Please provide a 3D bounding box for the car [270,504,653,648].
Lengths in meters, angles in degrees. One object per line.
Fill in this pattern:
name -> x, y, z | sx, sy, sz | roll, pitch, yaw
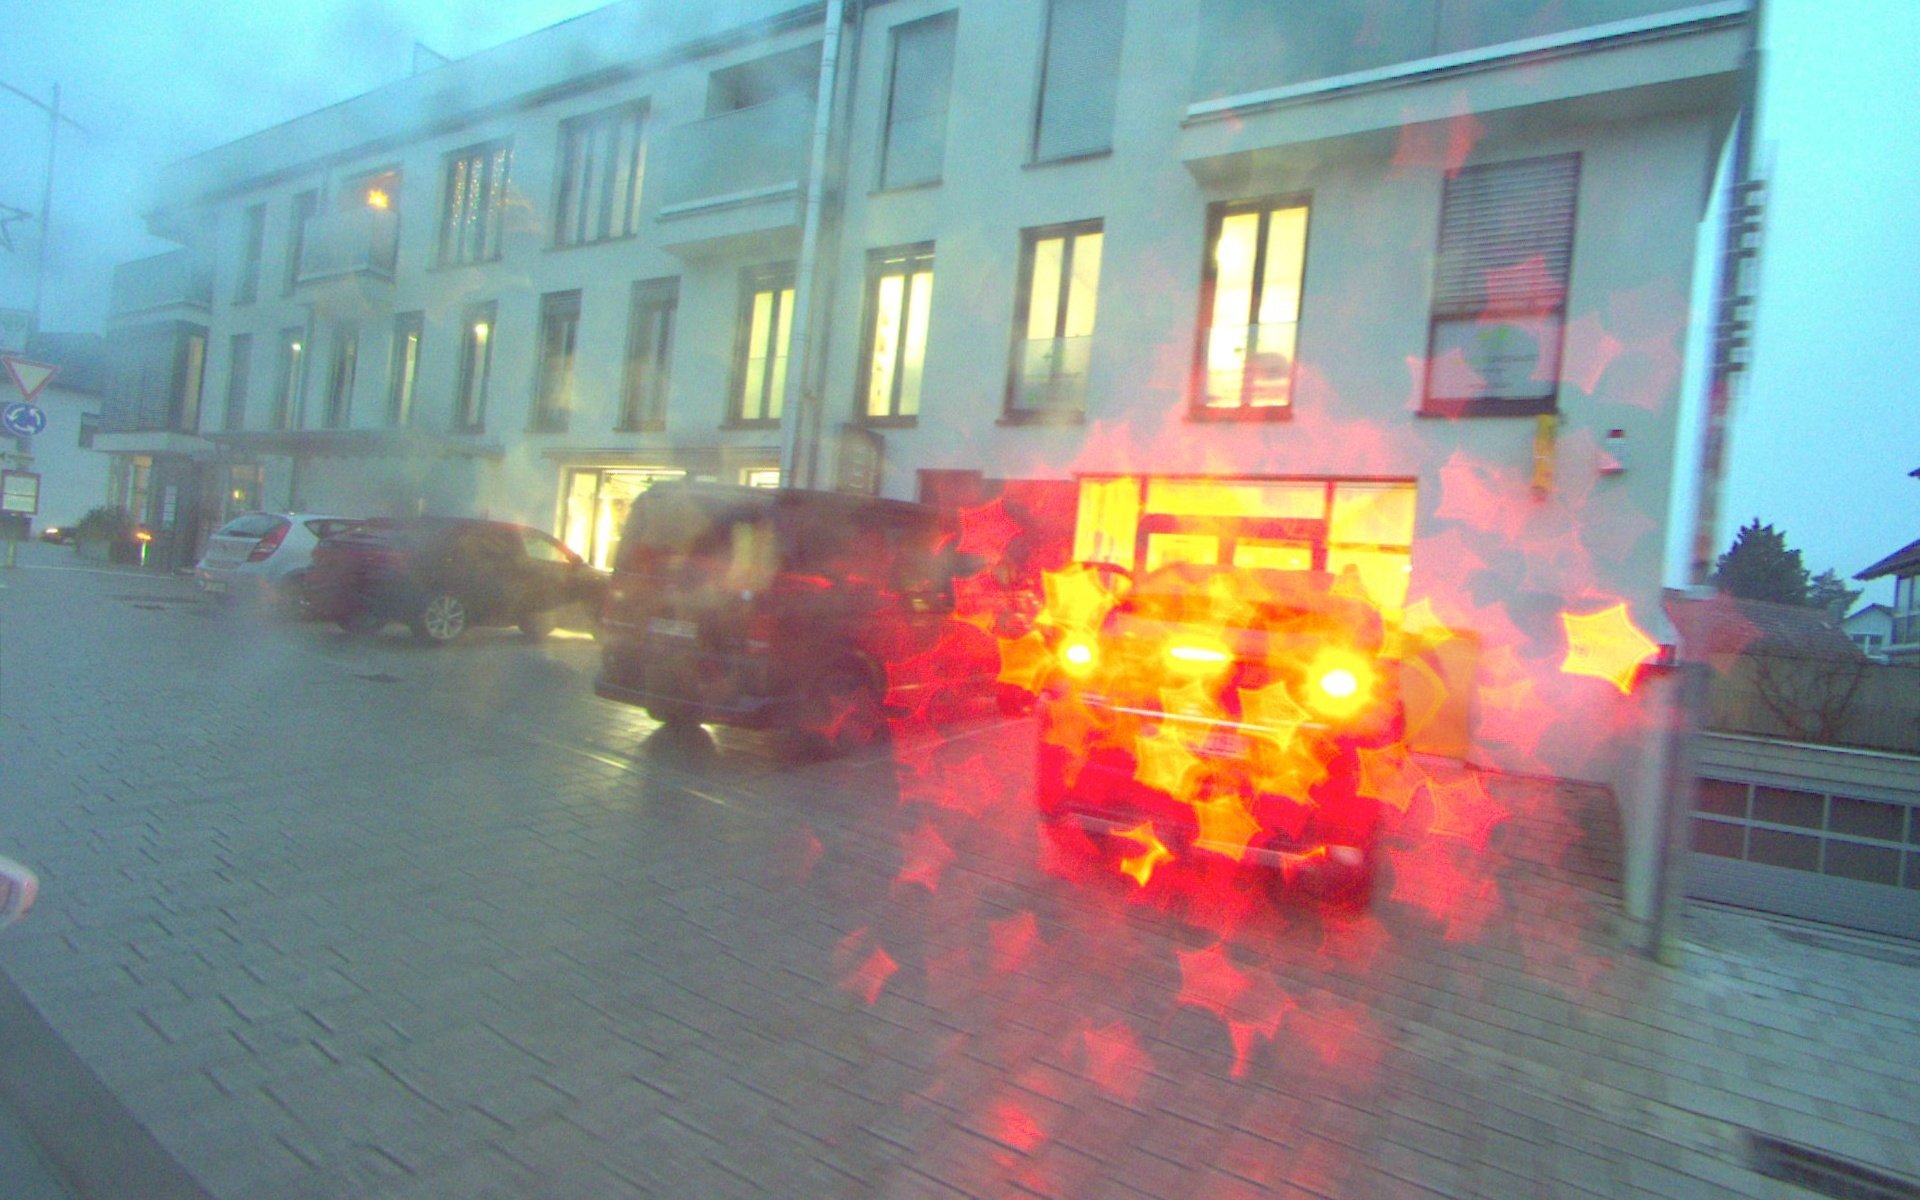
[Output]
car -> -6.239, -0.244, 13.150 | 1.761, 1.479, 4.210 | 6, 1, 27

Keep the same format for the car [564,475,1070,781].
car -> -0.925, 0.097, 8.917 | 1.917, 1.948, 4.559 | 6, 4, 31

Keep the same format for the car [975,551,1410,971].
car -> 1.816, 0.591, 6.536 | 1.771, 1.663, 4.175 | 7, 6, 25

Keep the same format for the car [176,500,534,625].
car -> -8.731, -0.463, 14.944 | 1.761, 1.479, 4.210 | 6, 1, 27
